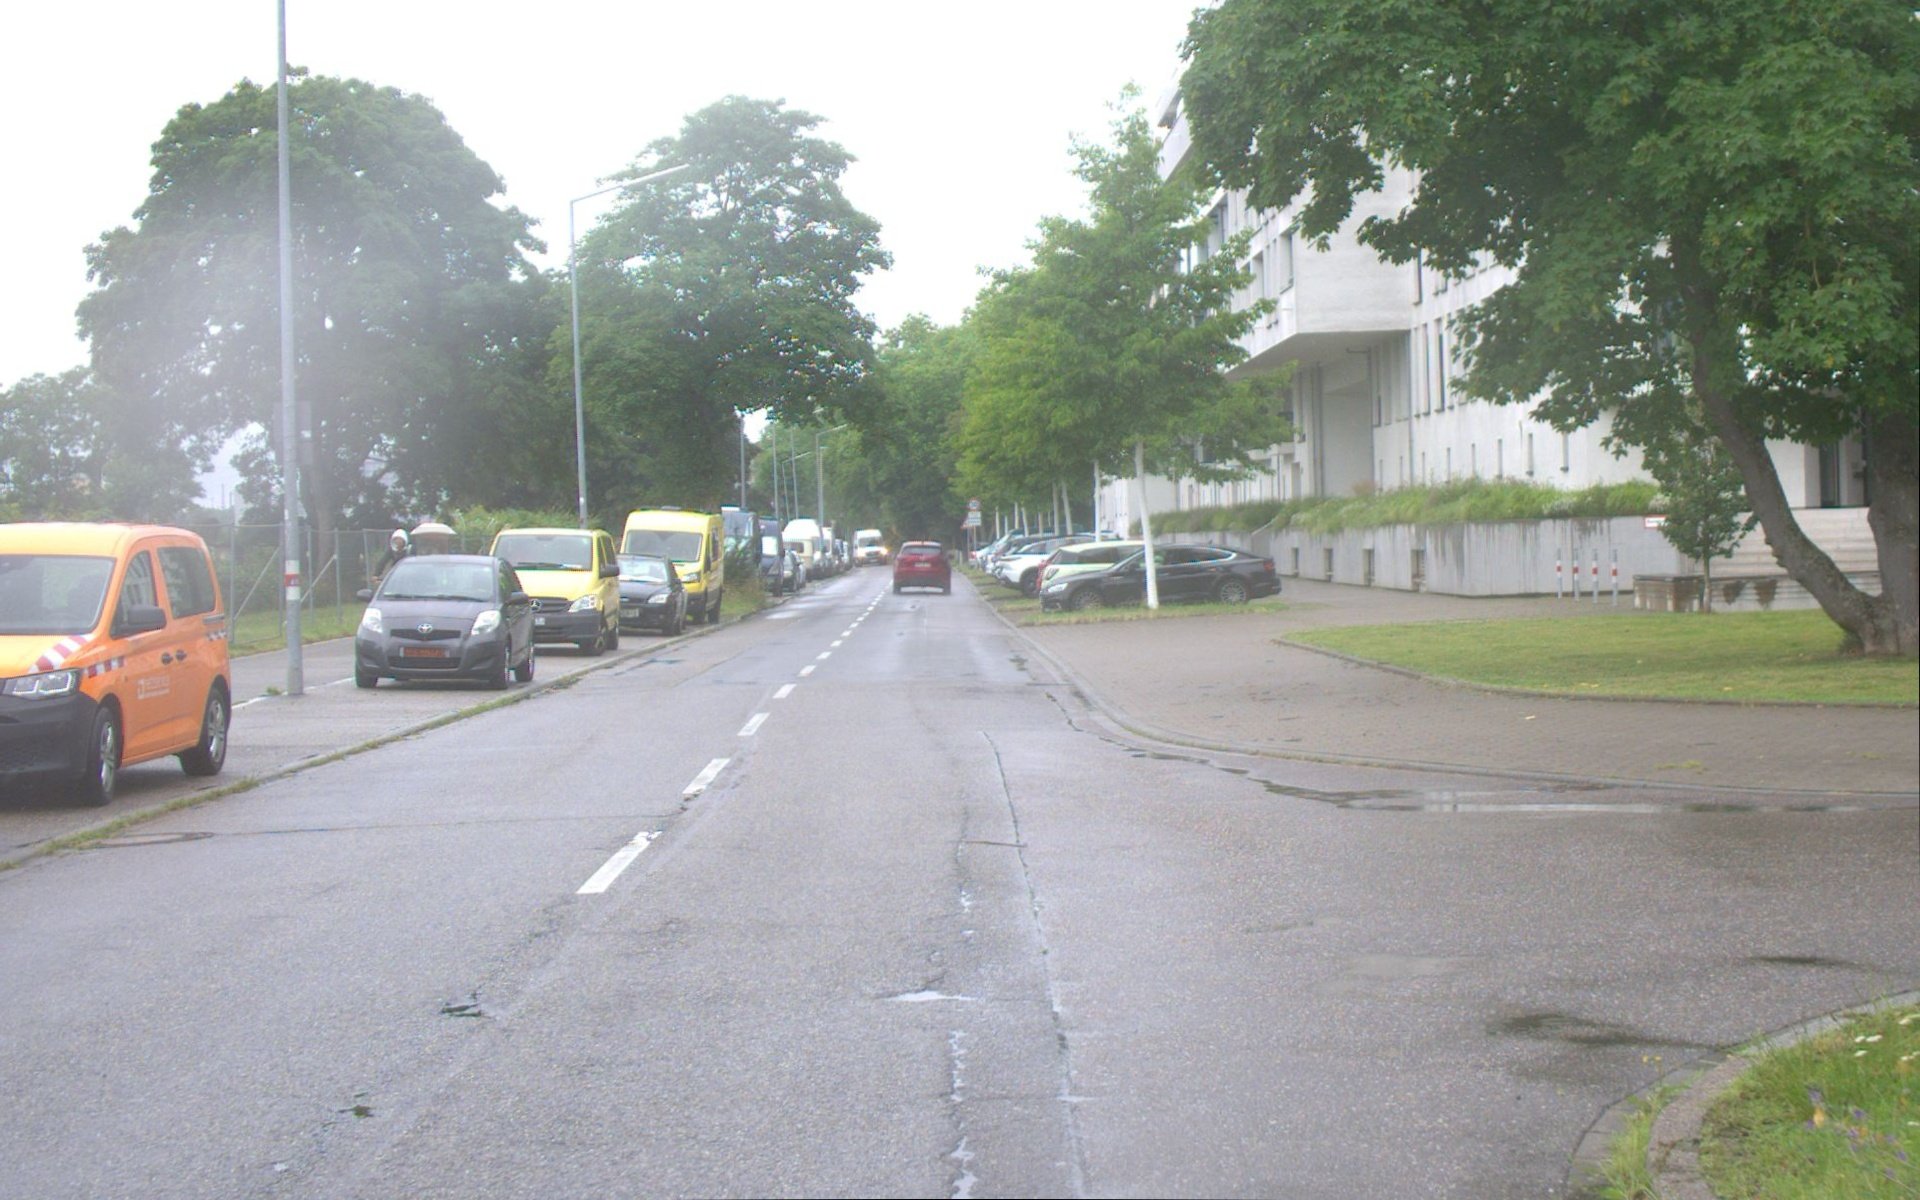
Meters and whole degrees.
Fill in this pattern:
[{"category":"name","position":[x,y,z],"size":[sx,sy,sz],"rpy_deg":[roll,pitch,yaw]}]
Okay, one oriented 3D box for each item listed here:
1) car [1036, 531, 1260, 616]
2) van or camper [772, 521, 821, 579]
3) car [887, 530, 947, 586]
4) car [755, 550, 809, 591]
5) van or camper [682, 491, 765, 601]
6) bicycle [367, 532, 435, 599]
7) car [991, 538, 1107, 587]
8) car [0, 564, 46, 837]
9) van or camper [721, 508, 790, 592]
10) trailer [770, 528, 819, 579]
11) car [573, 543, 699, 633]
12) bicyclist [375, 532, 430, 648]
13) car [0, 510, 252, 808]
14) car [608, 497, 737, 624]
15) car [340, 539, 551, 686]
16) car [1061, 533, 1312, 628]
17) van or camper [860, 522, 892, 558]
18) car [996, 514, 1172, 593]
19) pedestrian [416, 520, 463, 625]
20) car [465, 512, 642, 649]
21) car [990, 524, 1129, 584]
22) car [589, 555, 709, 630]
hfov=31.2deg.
[{"category":"car","position":[3.902,-0.560,71.827],"size":[4.487,1.476,1.692],"rpy_deg":[-4,1,0]},{"category":"van or camper","position":[-7.816,-2.387,165.235],"size":[1.993,2.752,7.898],"rpy_deg":[0,1,0]},{"category":"car","position":[-1.365,-1.362,110.087],"size":[1.756,1.700,4.000],"rpy_deg":[-1,1,1]},{"category":"car","position":[-6.661,-1.128,128.932],"size":[1.774,1.497,4.828],"rpy_deg":[1,1,0]},{"category":"van or camper","position":[-6.894,-1.552,100.804],"size":[2.094,3.084,6.424],"rpy_deg":[1,0,-2]},{"category":"bicycle","position":[-8.855,-0.560,54.551],"size":[0.716,1.038,2.144],"rpy_deg":[0,1,0]},{"category":"car","position":[3.127,-1.334,121.308],"size":[3.987,1.504,1.684],"rpy_deg":[-3,2,0]},{"category":"car","position":[-6.111,0.592,17.405],"size":[1.683,1.497,4.892],"rpy_deg":[-1,1,-1]},{"category":"van or camper","position":[-6.861,-1.658,116.168],"size":[2.094,2.706,7.575],"rpy_deg":[1,0,-2]},{"category":"trailer","position":[-7.248,-2.058,151.103],"size":[2.058,2.210,5.795],"rpy_deg":[0,1,-2]},{"category":"car","position":[-6.050,-0.244,64.775],"size":[1.993,1.588,5.018],"rpy_deg":[1,0,-1]},{"category":"bicyclist","position":[-8.854,-0.163,54.609],"size":[0.698,1.823,1.008],"rpy_deg":[0,1,0]},{"category":"car","position":[-6.136,0.331,22.603],"size":[1.940,1.761,4.331],"rpy_deg":[-1,1,1]},{"category":"car","position":[-6.334,-0.883,76.518],"size":[2.192,2.685,6.081],"rpy_deg":[1,1,1]},{"category":"car","position":[-5.892,0.099,39.777],"size":[1.804,1.556,4.033],"rpy_deg":[1,1,0]},{"category":"car","position":[4.305,-0.375,65.863],"size":[4.570,1.492,1.826],"rpy_deg":[-4,1,-1]},{"category":"van or camper","position":[-5.964,-4.272,244.681],"size":[1.993,2.488,7.178],"rpy_deg":[-2,1,0]},{"category":"car","position":[3.392,-1.290,94.787],"size":[4.539,1.679,1.886],"rpy_deg":[-6,1,-3]},{"category":"pedestrian","position":[-9.972,-0.528,65.859],"size":[0.742,2.007,0.980],"rpy_deg":[0,1,0]},{"category":"car","position":[-6.128,-0.318,52.474],"size":[2.017,1.950,6.065],"rpy_deg":[1,1,-1]},{"category":"car","position":[3.359,-1.565,116.500],"size":[4.476,1.681,1.936],"rpy_deg":[-4,1,-2]},{"category":"car","position":[-6.301,-0.168,70.110],"size":[2.010,1.429,5.340],"rpy_deg":[2,0,-1]}]
